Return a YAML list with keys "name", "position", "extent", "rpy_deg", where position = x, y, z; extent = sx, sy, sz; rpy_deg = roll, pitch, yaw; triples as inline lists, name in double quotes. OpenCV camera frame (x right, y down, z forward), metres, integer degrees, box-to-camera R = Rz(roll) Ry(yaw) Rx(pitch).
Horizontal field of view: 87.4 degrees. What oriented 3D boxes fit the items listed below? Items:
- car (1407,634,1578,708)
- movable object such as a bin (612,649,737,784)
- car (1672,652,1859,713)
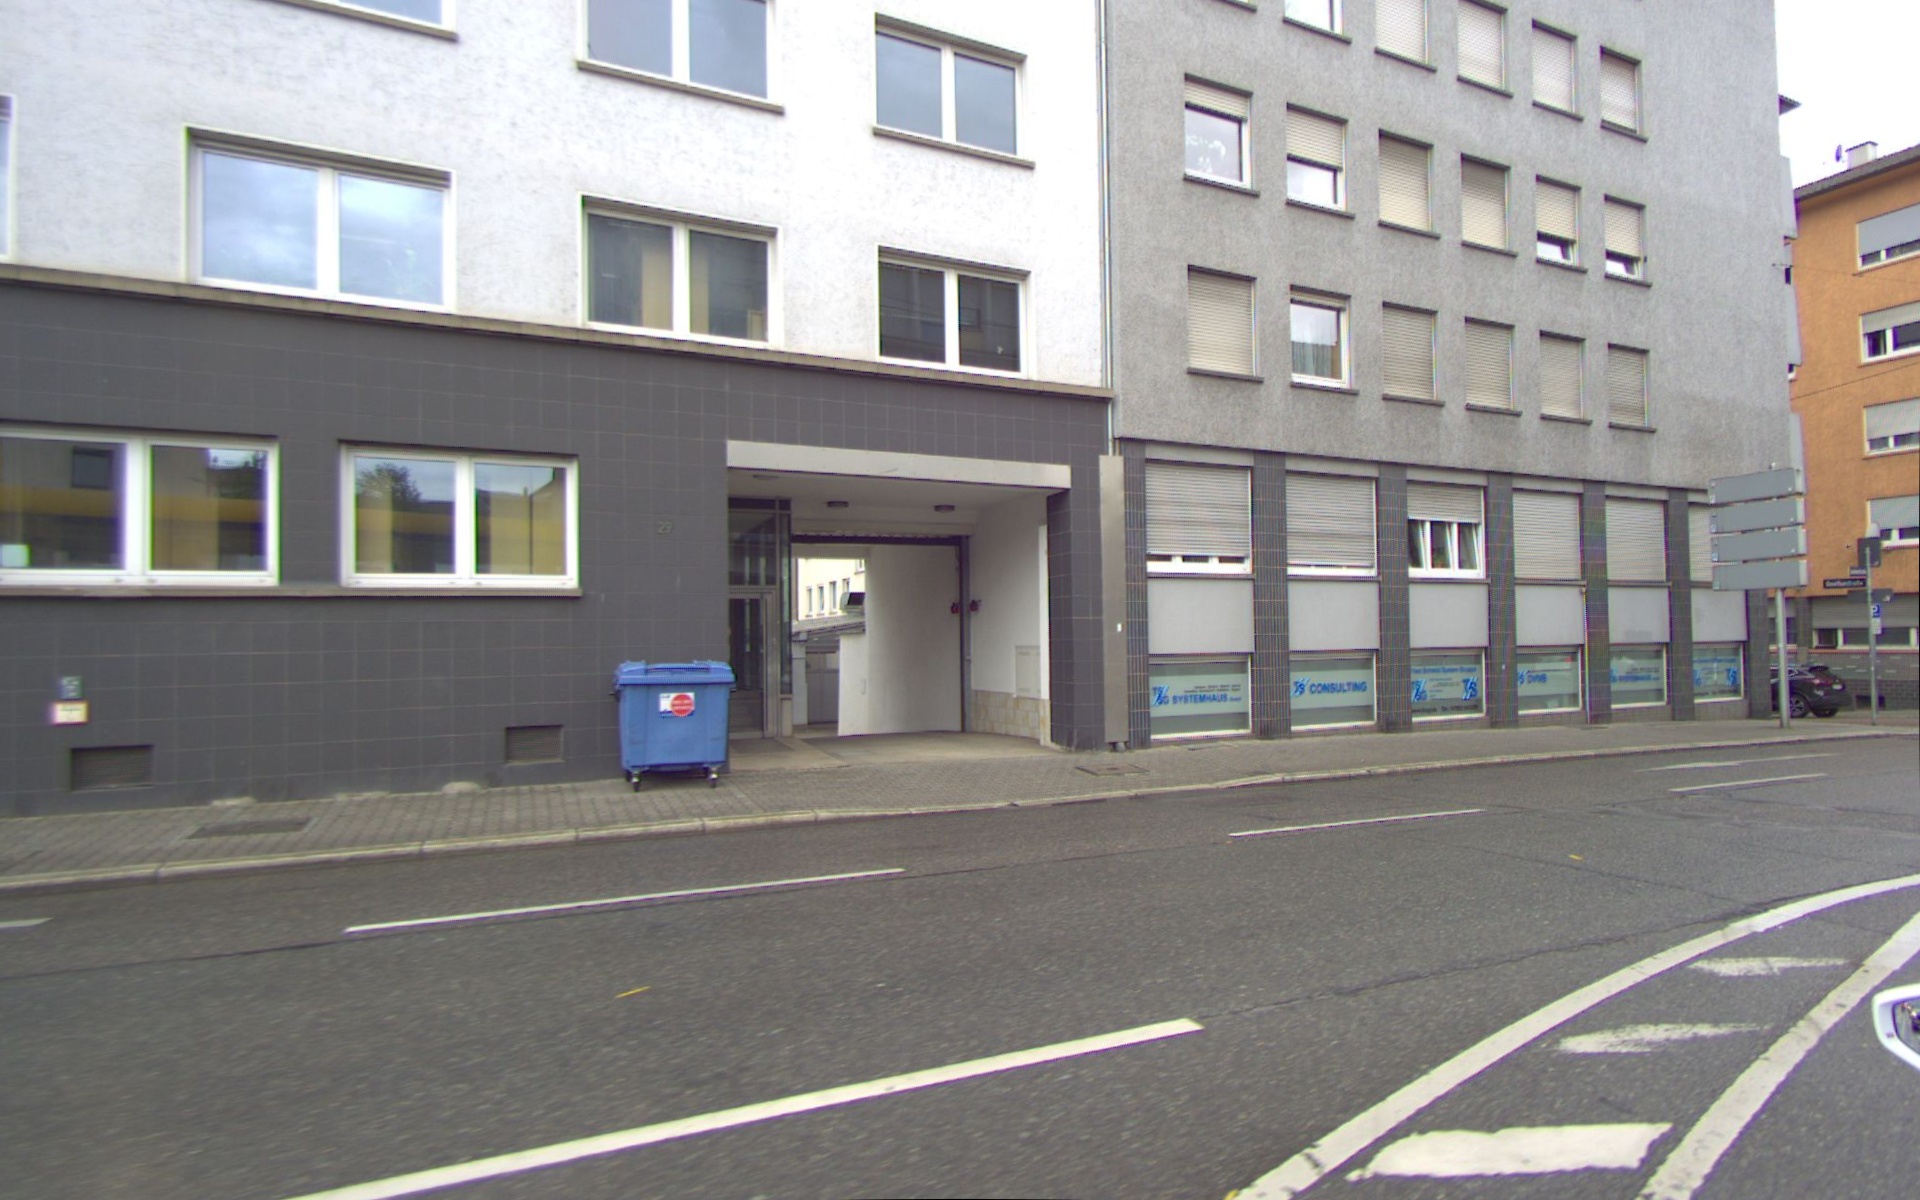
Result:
- name: "car"
  position: [19.845, 2.734, 37.740]
  extent: [1.959, 2.489, 5.321]
  rpy_deg: [1, -7, -30]
- name: "movable object such as a bin"
  position: [-3.144, 1.225, 11.001]
  extent: [1.174, 1.342, 1.073]
  rpy_deg: [1, -1, -25]
- name: "car"
  position: [24.686, 2.593, 30.970]
  extent: [1.904, 1.673, 3.980]
  rpy_deg: [1, -7, -24]
